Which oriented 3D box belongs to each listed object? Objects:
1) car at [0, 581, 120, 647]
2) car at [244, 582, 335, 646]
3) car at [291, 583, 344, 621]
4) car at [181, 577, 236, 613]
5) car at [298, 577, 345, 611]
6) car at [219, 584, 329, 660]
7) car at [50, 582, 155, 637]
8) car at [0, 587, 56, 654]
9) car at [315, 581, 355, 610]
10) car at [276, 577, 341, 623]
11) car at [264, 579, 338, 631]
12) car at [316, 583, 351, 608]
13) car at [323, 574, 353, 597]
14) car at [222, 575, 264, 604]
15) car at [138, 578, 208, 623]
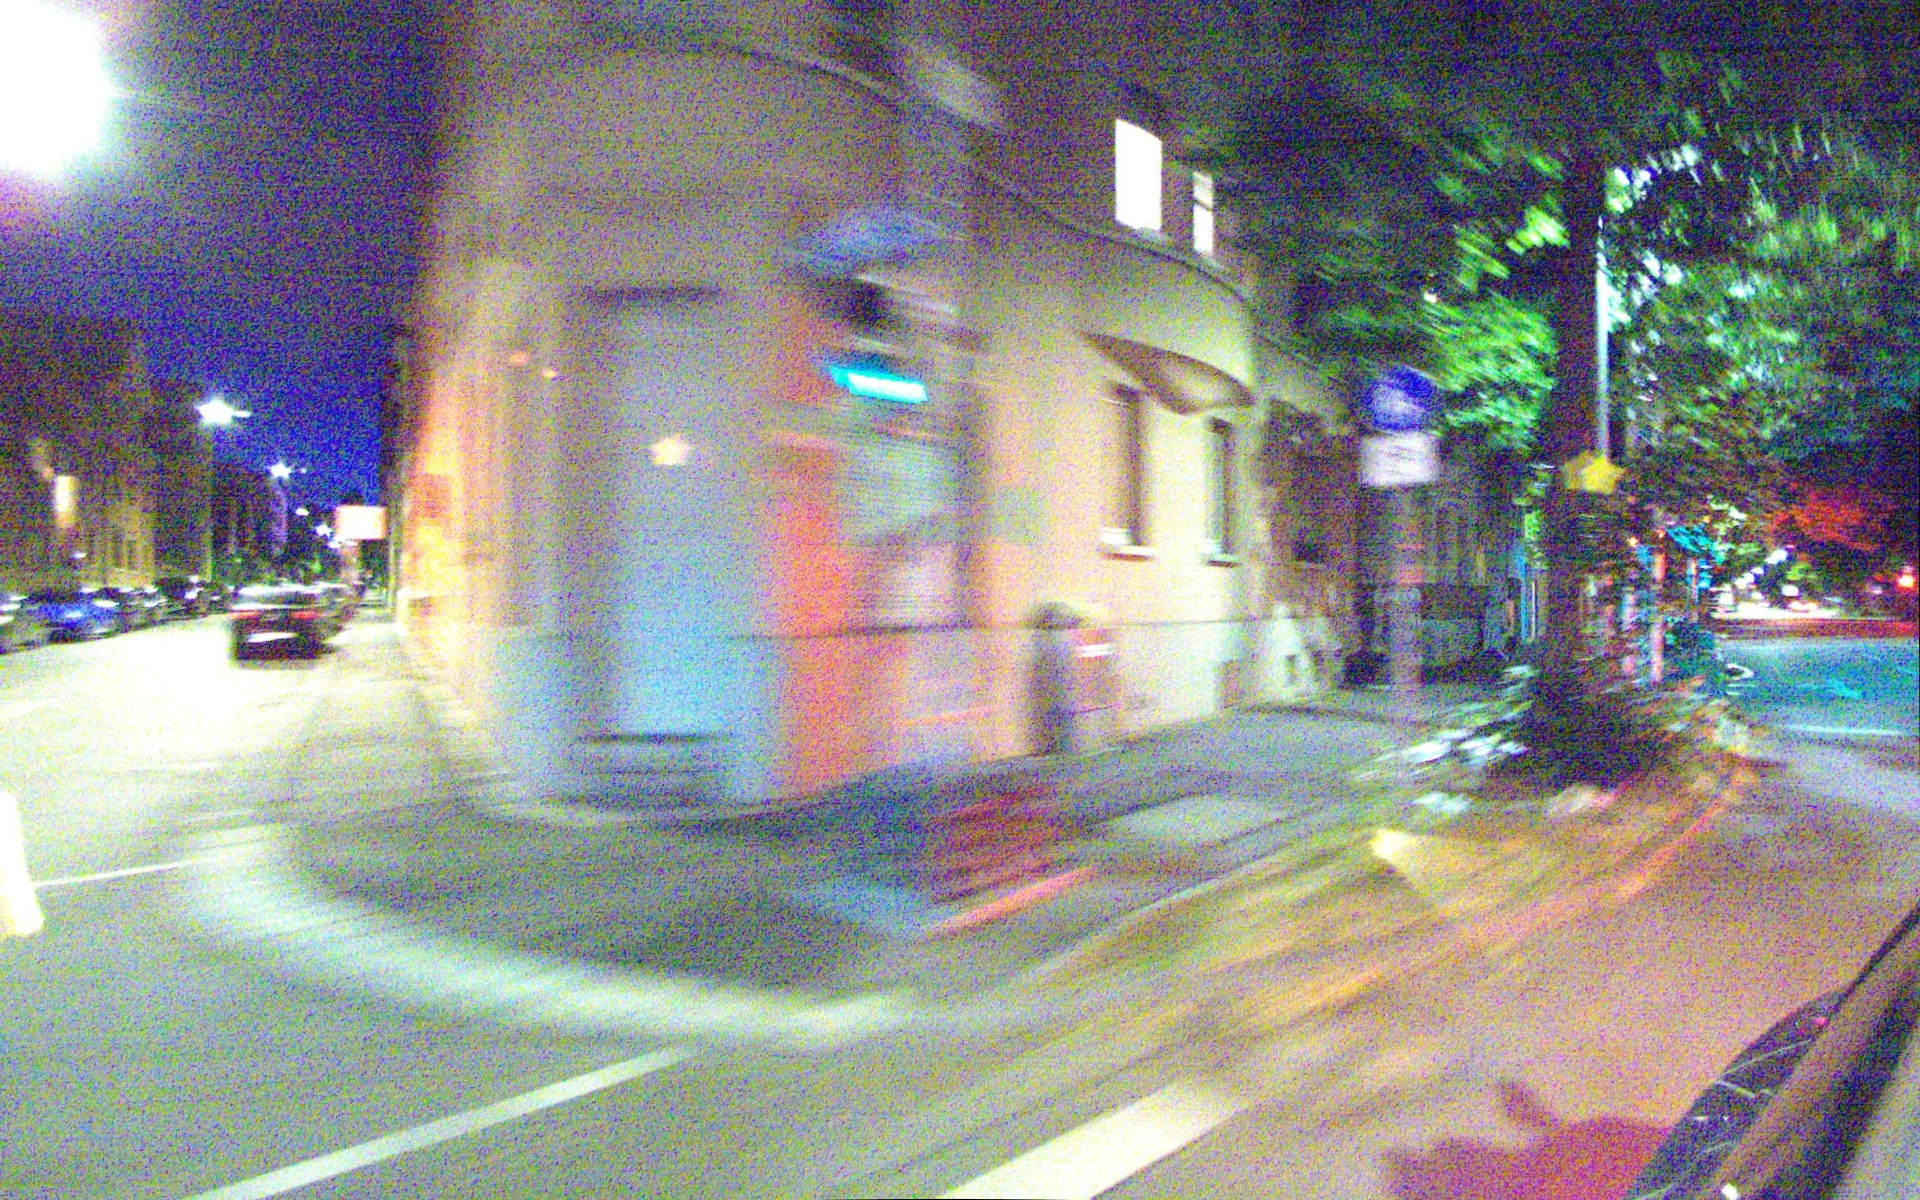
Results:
[{"bbox_3d":[-24.669,0.321,27.697,1.864,1.583,4.004,-4,2,-30],"label":"car"},{"bbox_3d":[-17.137,0.302,26.020,1.707,1.505,3.780,0,1,-30],"label":"car"},{"bbox_3d":[-26.796,0.052,42.296,1.707,1.505,3.780,0,1,-30],"label":"car"},{"bbox_3d":[-40.316,-0.285,54.360,1.864,1.767,4.004,-4,2,-30],"label":"car"},{"bbox_3d":[-29.615,-0.284,47.001,1.707,1.505,3.780,0,1,-30],"label":"car"},{"bbox_3d":[-14.809,0.413,22.007,1.707,1.505,3.780,0,1,-30],"label":"car"},{"bbox_3d":[-28.069,0.257,33.271,1.864,1.583,4.004,-4,2,-30],"label":"car"},{"bbox_3d":[-22.453,0.466,23.092,1.864,1.444,4.004,-4,2,-30],"label":"car"},{"bbox_3d":[-33.453,-0.259,54.215,1.707,1.505,3.780,0,1,-30],"label":"car"},{"bbox_3d":[-22.874,-0.022,35.628,1.707,1.505,3.780,0,1,-30],"label":"car"},{"bbox_3d":[-20.520,0.128,31.619,1.707,1.505,3.780,0,1,-30],"label":"car"},{"bbox_3d":[-38.959,-0.268,62.980,1.707,1.505,3.780,0,1,-30],"label":"car"},{"bbox_3d":[-43.232,-1.013,70.379,1.707,1.505,3.780,0,1,-30],"label":"car"},{"bbox_3d":[-48.614,-0.728,68.658,1.864,1.767,4.004,-4,2,-30],"label":"car"},{"bbox_3d":[-35.233,-0.012,45.389,1.864,1.829,4.004,-4,2,-30],"label":"car"}]
